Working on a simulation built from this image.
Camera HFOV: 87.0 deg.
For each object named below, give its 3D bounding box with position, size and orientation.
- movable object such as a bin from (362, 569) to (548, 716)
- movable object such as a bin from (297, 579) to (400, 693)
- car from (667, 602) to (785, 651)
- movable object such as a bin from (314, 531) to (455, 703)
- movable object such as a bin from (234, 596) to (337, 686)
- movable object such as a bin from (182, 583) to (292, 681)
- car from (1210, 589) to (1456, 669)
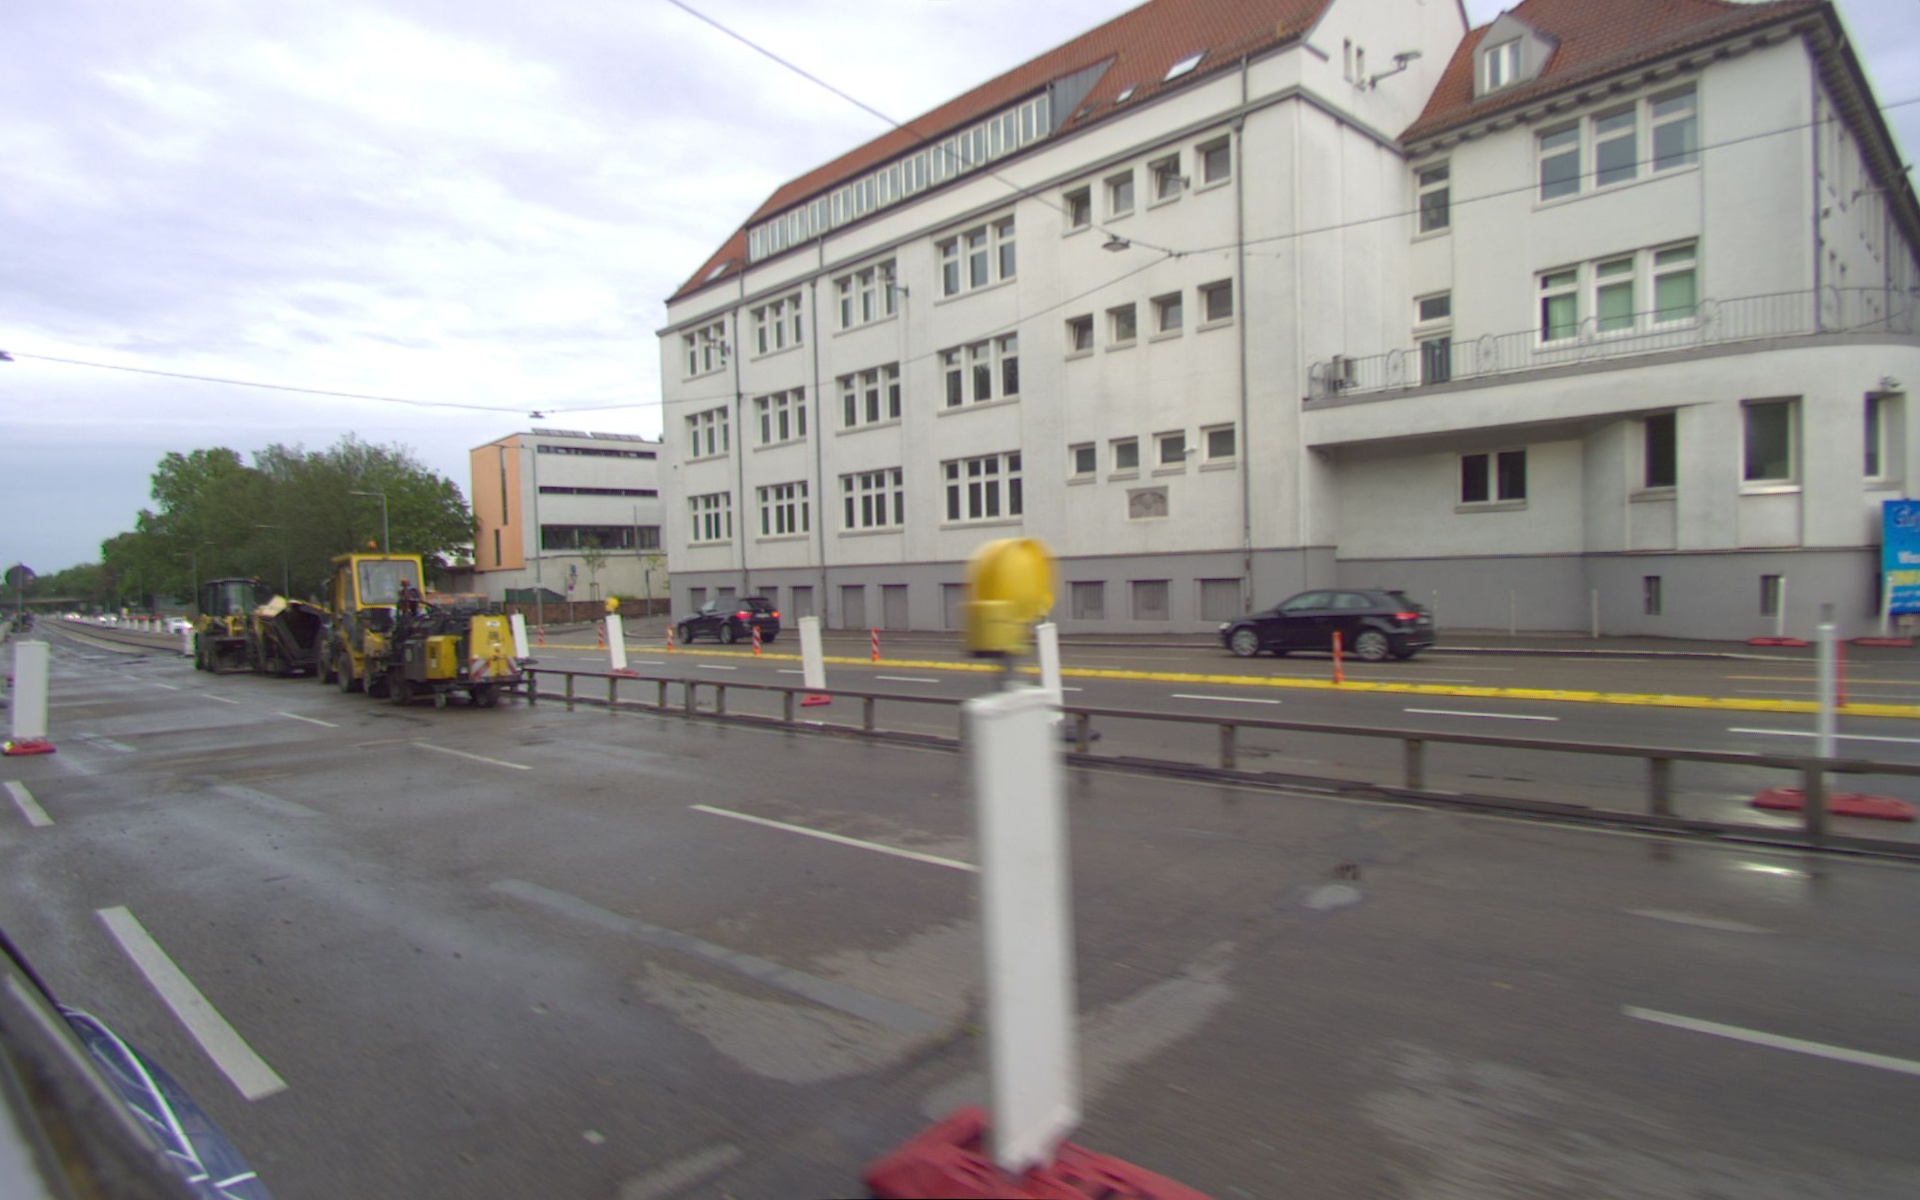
[{"bbox_3d":[-8.388,0.684,16.710,3.350,2.166,1.697,-2,-2,43],"label":"movable object such as a bin"},{"bbox_3d":[-13.716,0.797,22.677,2.406,2.419,1.395,-2,-2,43],"label":"movable object such as a bin"},{"bbox_3d":[-8.288,0.934,35.618,4.557,1.555,1.814,-2,0,44],"label":"car"},{"bbox_3d":[-11.253,0.356,19.693,1.449,3.031,3.726,1,-2,-45],"label":"movable object such as a bin"},{"bbox_3d":[-17.695,1.050,26.442,1.346,2.106,5.034,-2,-1,-44],"label":"movable object such as a bin"},{"bbox_3d":[-21.527,0.938,30.043,1.880,2.629,5.387,-2,-1,-44],"label":"movable object such as a bin"},{"bbox_3d":[7.318,0.550,20.155,4.251,1.416,1.742,-1,0,44],"label":"car"}]
